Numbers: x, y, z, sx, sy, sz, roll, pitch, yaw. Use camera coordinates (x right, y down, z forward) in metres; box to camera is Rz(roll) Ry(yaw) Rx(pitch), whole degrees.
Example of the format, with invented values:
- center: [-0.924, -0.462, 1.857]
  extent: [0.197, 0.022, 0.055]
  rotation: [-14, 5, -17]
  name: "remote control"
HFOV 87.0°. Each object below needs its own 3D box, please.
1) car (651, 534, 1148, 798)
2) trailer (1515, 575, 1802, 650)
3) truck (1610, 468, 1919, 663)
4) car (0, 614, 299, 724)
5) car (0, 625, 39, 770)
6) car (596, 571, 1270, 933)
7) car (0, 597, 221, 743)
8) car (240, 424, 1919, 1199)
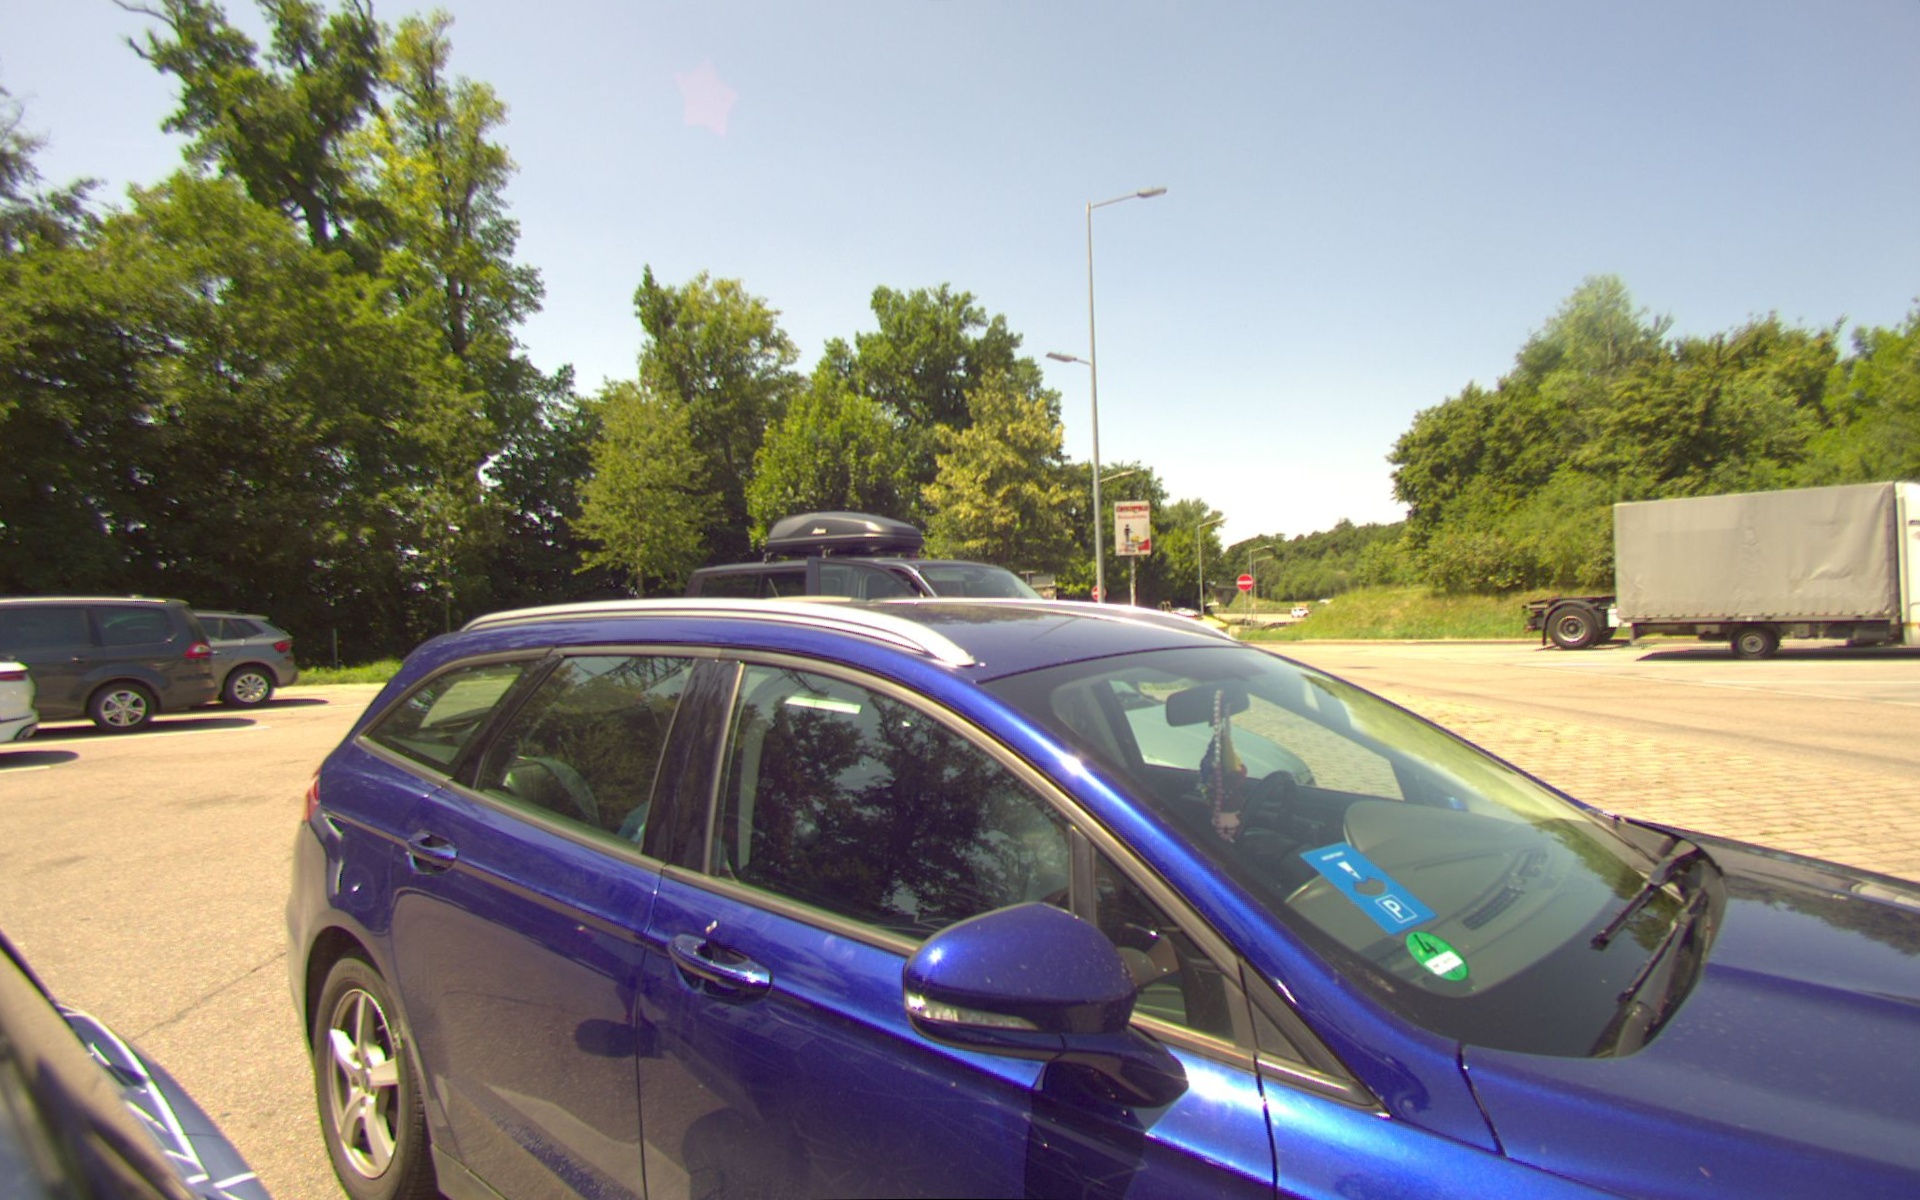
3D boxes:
- center: [-0.725, 0.535, 9.418]
  extent: [4.427, 1.875, 2.022]
  rotation: [-2, -1, 40]
  name: "car"
- center: [16.339, 0.348, 23.918]
  extent: [5.393, 1.608, 1.576]
  rotation: [-2, -1, 41]
  name: "trailer"
- center: [16.718, -0.617, 18.845]
  extent: [7.308, 3.258, 2.294]
  rotation: [-5, -2, 43]
  name: "truck"
- center: [-12.602, 0.975, 15.628]
  extent: [3.753, 1.488, 1.743]
  rotation: [0, -1, -45]
  name: "car"
- center: [-10.952, 0.946, 9.200]
  extent: [3.753, 1.377, 1.804]
  rotation: [0, -1, -45]
  name: "car"
- center: [-0.357, 0.652, 5.807]
  extent: [3.739, 1.424, 1.587]
  rotation: [-2, -1, 40]
  name: "car"
- center: [-11.706, 0.838, 12.588]
  extent: [3.830, 1.703, 1.883]
  rotation: [0, -2, -45]
  name: "car"
- center: [0.247, 0.652, 2.085]
  extent: [4.427, 1.455, 1.763]
  rotation: [-2, -1, 40]
  name: "car"
